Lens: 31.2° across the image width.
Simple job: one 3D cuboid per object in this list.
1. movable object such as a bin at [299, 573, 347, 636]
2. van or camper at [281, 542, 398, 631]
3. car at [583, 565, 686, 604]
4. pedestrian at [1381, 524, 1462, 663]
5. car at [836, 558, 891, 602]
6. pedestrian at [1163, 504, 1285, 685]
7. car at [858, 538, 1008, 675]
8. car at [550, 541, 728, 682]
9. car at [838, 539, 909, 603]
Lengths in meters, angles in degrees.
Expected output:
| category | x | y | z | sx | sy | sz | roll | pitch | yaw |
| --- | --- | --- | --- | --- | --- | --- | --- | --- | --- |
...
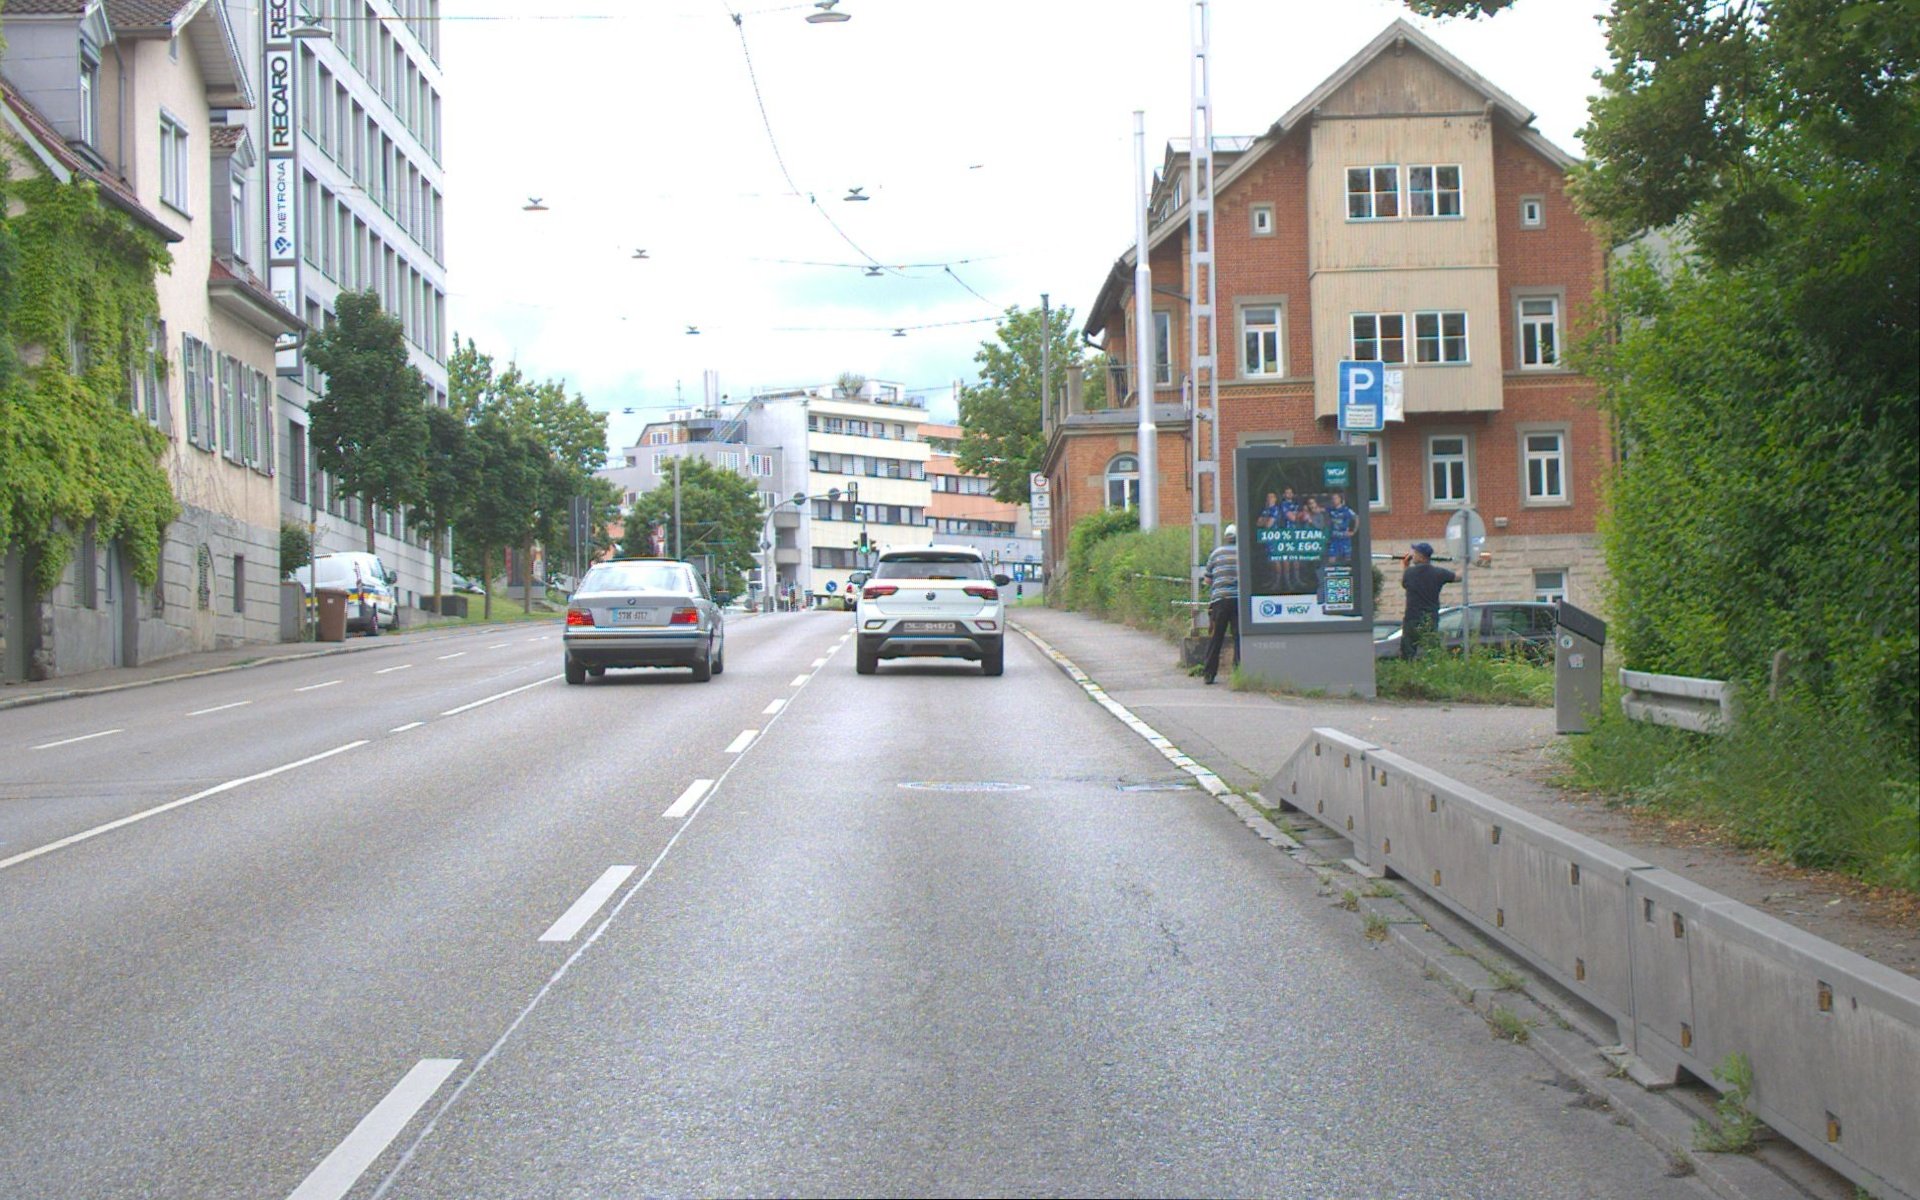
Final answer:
| category | x | y | z | sx | sy | sz | roll | pitch | yaw |
| --- | --- | --- | --- | --- | --- | --- | --- | --- | --- |
| movable object such as a bin | -12.379 | 0.081 | 66.831 | 0.810 | 1.185 | 0.699 | 3 | 0 | -6 |
| van or camper | -14.446 | -0.347 | 80.215 | 2.060 | 1.961 | 4.873 | -1 | 1 | -3 |
| car | -13.363 | -0.641 | 141.186 | 1.780 | 1.539 | 3.990 | -1 | -1 | 44 |
| pedestrian | 5.290 | -0.073 | 39.388 | 0.584 | 1.566 | 0.647 | -3 | 1 | -37 |
| car | -3.362 | -0.703 | 120.511 | 1.830 | 1.459 | 4.000 | -1 | 1 | -1 |
| pedestrian | 2.812 | -0.058 | 36.611 | 0.812 | 1.878 | 0.948 | -3 | 1 | -36 |
| car | -0.335 | 0.043 | 42.108 | 1.700 | 1.543 | 3.736 | 2 | 1 | -1 |
| car | -3.642 | 0.098 | 39.530 | 1.700 | 1.511 | 3.736 | -1 | 1 | -1 |
| car | -2.316 | -0.796 | 92.719 | 1.830 | 1.645 | 4.000 | -1 | 1 | -1 |
